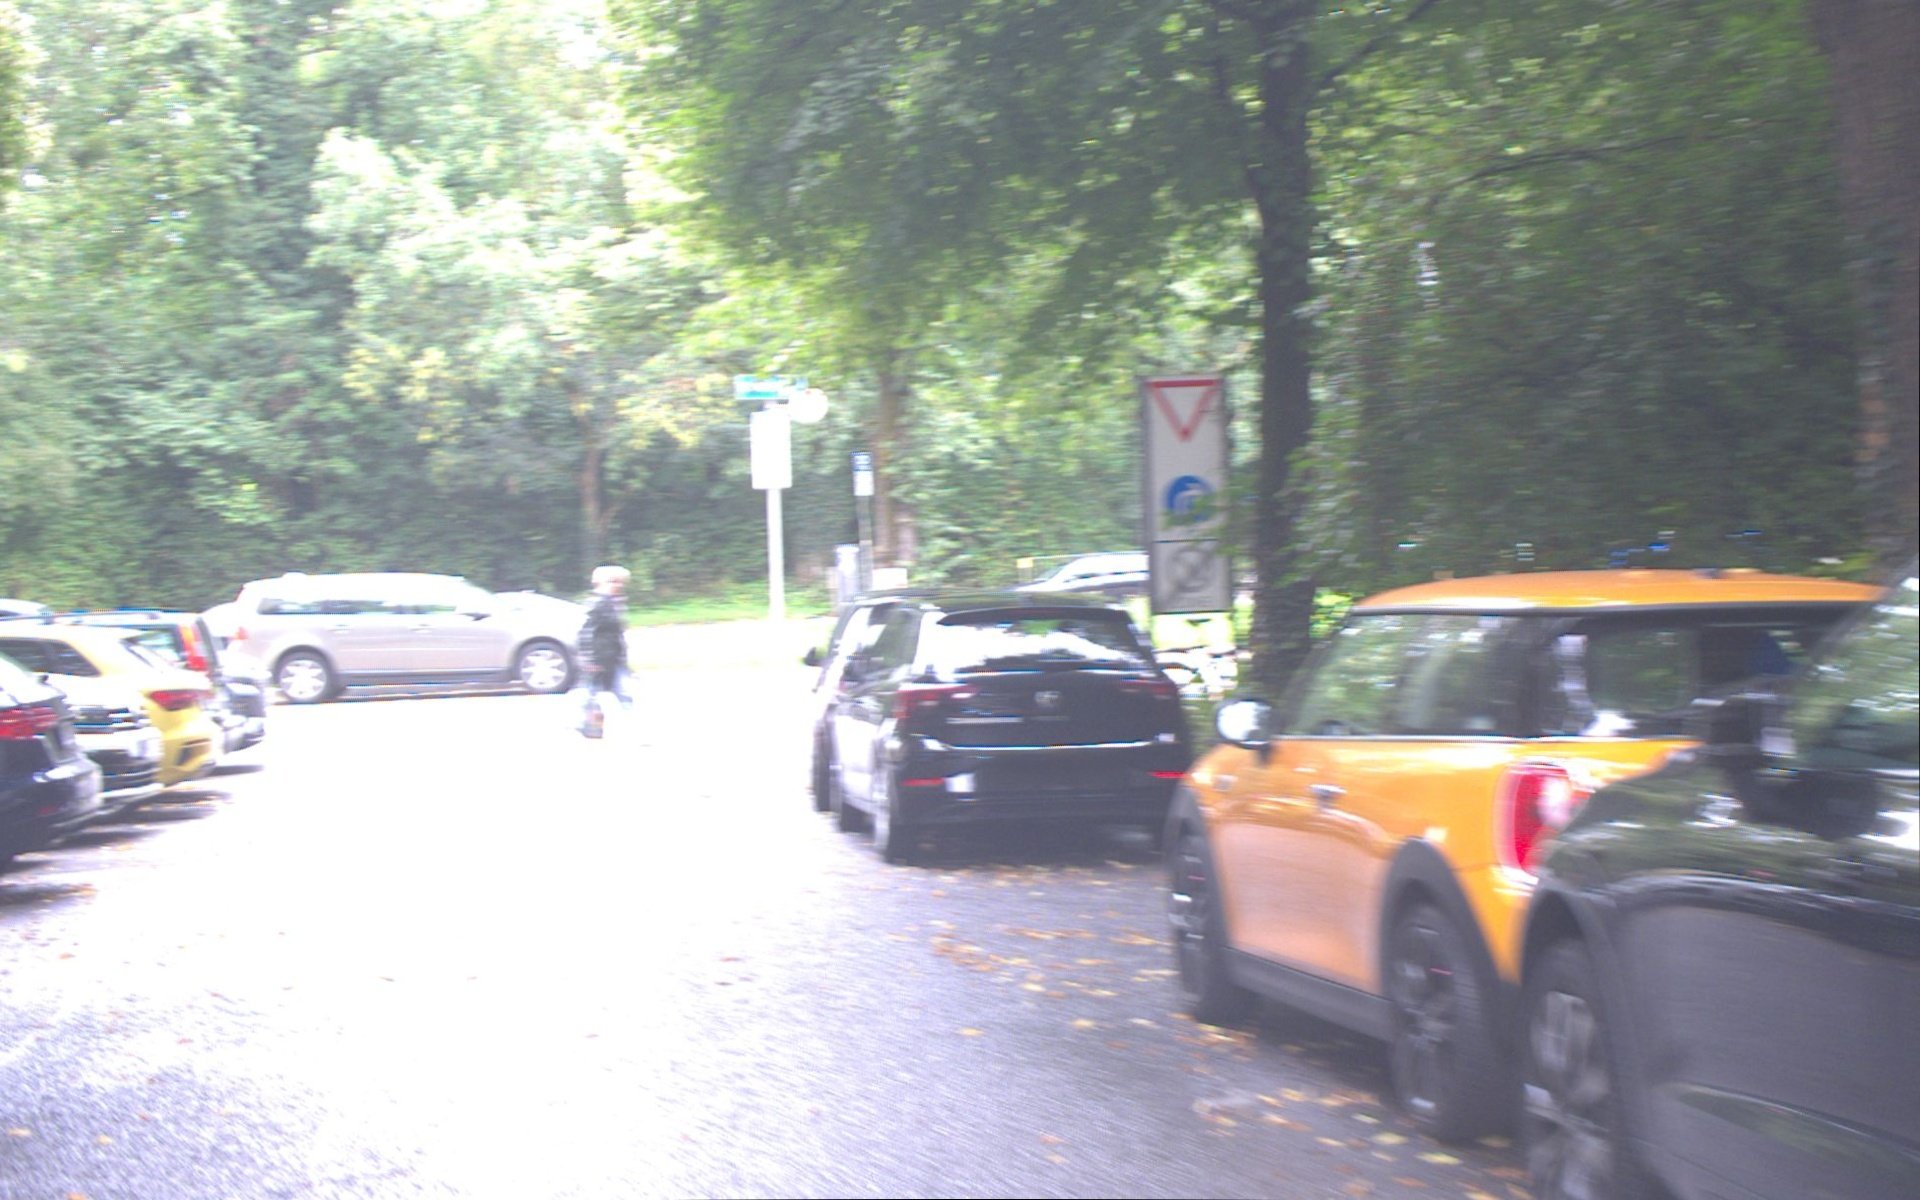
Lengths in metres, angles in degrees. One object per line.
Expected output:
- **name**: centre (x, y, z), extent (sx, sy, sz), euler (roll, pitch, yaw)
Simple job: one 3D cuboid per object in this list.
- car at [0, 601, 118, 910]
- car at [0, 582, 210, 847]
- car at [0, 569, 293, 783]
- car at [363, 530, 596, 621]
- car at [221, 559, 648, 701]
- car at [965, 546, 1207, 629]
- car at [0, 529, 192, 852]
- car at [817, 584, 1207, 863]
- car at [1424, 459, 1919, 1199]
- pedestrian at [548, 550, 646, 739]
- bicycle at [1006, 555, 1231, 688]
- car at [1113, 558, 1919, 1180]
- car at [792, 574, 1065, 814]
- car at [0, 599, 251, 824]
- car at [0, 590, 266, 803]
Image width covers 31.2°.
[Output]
- **car**: centre (-6.343, 0.844, 16.973), extent (3.986, 1.428, 1.736), euler (-3, 1, -6)
- **car**: centre (-7.276, 0.769, 22.160), extent (4.448, 1.591, 1.835), euler (-2, 1, -1)
- **car**: centre (-7.935, 0.678, 29.415), extent (4.161, 1.595, 1.736), euler (-3, 3, -6)
- **car**: centre (-9.543, -0.492, 68.301), extent (4.433, 1.573, 1.932), euler (-3, 1, -8)
- **car**: centre (-6.243, 0.339, 41.220), extent (4.801, 1.490, 1.842), euler (-2, 1, -1)
- **car**: centre (2.592, -0.268, 71.074), extent (4.580, 1.467, 1.932), euler (-3, 1, -14)
- **car**: centre (-6.752, 0.580, 19.568), extent (4.313, 1.725, 1.849), euler (-3, 1, -3)
- **car**: centre (0.192, 0.629, 19.837), extent (1.681, 1.353, 4.010), euler (-2, 1, -7)
- **car**: centre (2.147, 0.585, 5.084), extent (1.831, 1.623, 4.526), euler (-2, 1, -6)
- **pedestrian**: centre (-3.217, 0.384, 30.563), extent (0.779, 1.612, 0.761), euler (-2, 3, -4)
- **bicycle**: centre (1.274, 0.174, 27.635), extent (1.752, 0.978, 0.273), euler (-3, 1, 3)
- **car**: centre (1.674, 0.610, 10.087), extent (1.618, 1.407, 3.781), euler (-2, 1, -10)
- **car**: centre (-0.291, 0.595, 24.069), extent (1.647, 1.469, 3.644), euler (-2, 1, -4)
- **car**: centre (-7.103, 0.828, 24.361), extent (3.878, 1.436, 1.741), euler (-3, 1, -7)
- **car**: centre (-7.499, 0.783, 26.534), extent (3.986, 1.459, 1.736), euler (-3, 2, -6)
